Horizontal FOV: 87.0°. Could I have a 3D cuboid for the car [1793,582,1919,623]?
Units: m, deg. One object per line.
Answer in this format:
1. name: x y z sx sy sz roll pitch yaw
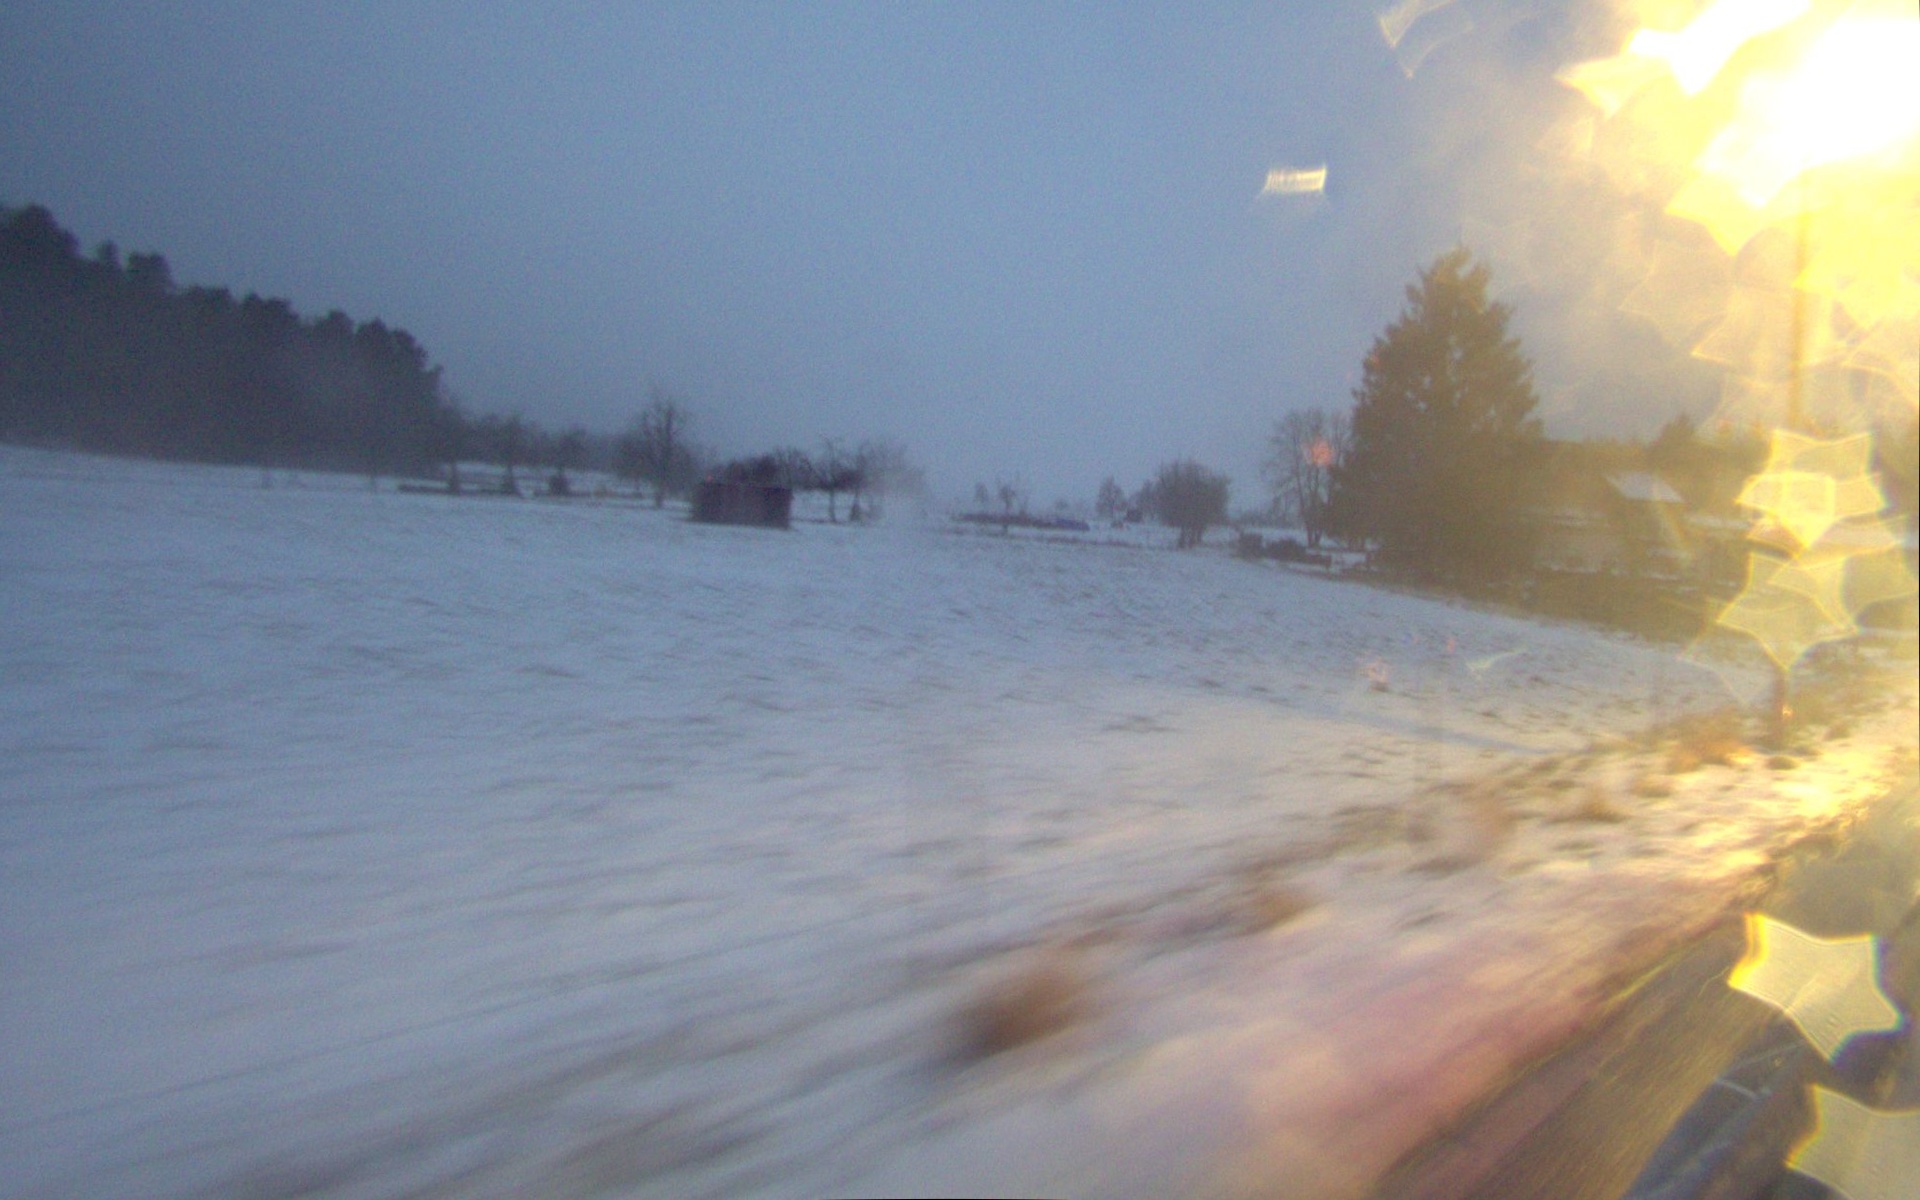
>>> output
1. car: 43.768 0.096 49.351 1.825 1.677 4.416 2 3 -32
